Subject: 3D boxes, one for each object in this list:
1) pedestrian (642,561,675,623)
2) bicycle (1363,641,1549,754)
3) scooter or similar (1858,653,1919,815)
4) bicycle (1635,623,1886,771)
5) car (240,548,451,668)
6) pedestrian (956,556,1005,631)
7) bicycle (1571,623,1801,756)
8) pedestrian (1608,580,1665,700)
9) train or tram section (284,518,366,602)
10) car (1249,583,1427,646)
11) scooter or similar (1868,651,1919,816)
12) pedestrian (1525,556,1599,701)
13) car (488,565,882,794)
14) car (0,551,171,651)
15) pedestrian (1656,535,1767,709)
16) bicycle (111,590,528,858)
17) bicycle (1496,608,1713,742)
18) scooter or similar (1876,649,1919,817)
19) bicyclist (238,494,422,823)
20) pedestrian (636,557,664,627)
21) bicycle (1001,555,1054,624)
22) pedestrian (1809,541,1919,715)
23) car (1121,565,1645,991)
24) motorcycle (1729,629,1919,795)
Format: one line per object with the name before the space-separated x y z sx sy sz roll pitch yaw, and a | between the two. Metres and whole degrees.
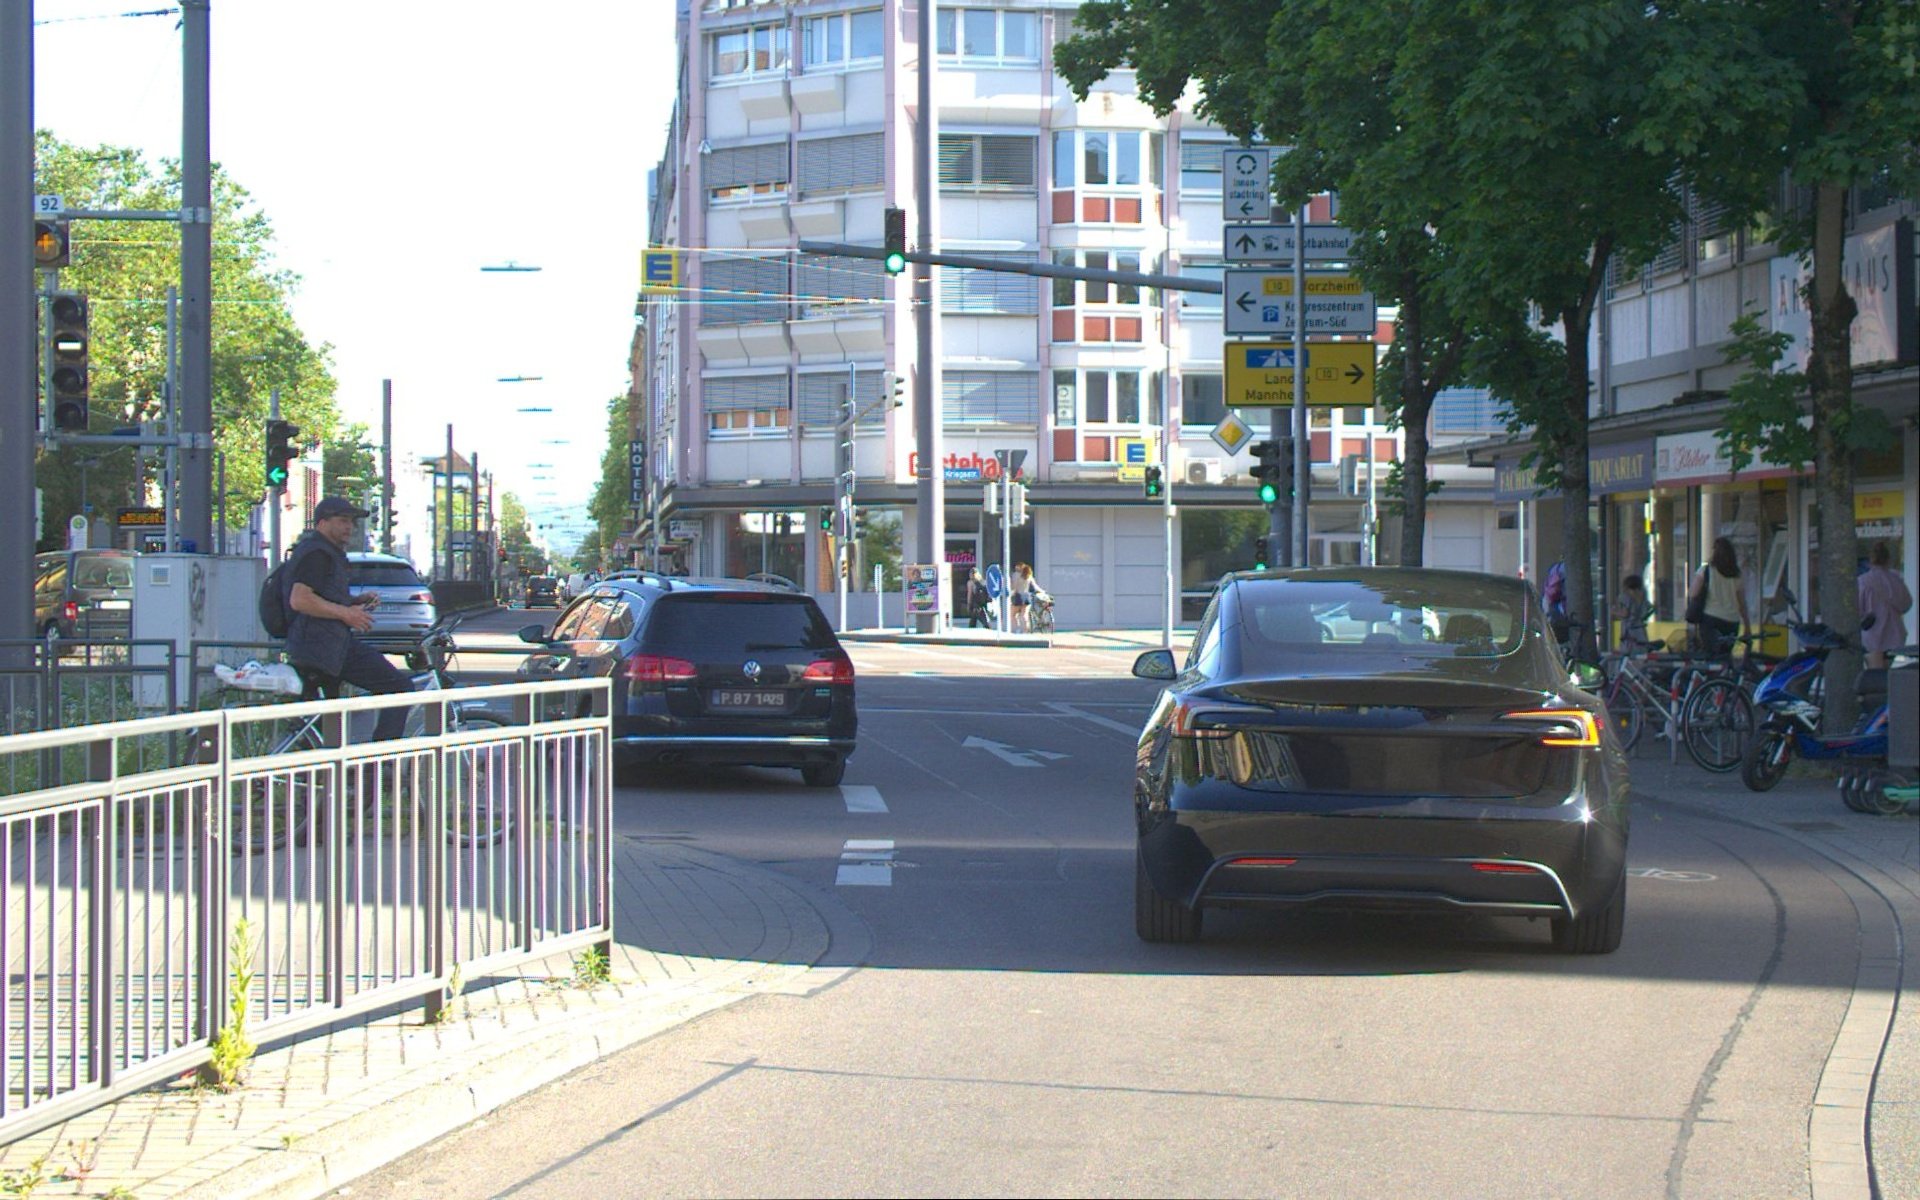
pedestrian | -8.668 -0.235 98.739 0.914 1.748 0.839 1 0 -5
bicycle | 5.324 1.040 36.942 1.889 1.152 0.480 -1 0 -3
scooter or similar | 6.220 0.849 21.895 0.963 1.023 0.160 0 0 -1
bicycle | 6.043 0.724 25.940 1.849 1.052 0.399 -1 0 -15
car | -8.760 0.101 48.833 1.839 1.629 3.486 1 0 -30
pedestrian | 0.430 -0.143 73.953 0.779 1.571 0.868 1 1 -19
bicycle | 5.899 0.723 27.986 1.767 1.053 0.458 1 0 2
pedestrian | 8.065 0.472 40.987 0.645 1.417 0.621 1 0 12
train or tram section | -27.962 -1.708 151.737 2.728 3.530 10.088 1 0 -6
car | 8.913 0.350 81.265 3.839 1.427 1.804 0 -2 -9
scooter or similar | 6.226 0.840 21.694 0.956 1.035 0.160 0 0 -1
pedestrian | 7.218 0.336 41.263 0.843 1.715 0.879 1 0 9
car | -2.068 0.497 24.476 1.764 1.439 4.530 0 1 -18
car | -14.875 0.003 57.154 3.780 1.612 1.574 1 0 43
pedestrian | 7.478 0.215 34.245 0.843 1.701 0.880 1 0 -4
bicycle | -3.020 0.570 16.262 1.820 1.208 0.642 1 0 -28
bicycle | 5.608 0.646 29.944 1.809 1.147 0.435 0 0 -8
scooter or similar | 6.232 0.828 21.496 0.963 1.039 0.160 0 0 -1
bicyclist | -2.986 0.270 16.281 0.681 1.518 0.635 1 0 -28
pedestrian | -8.004 -0.204 88.725 0.626 1.776 0.918 1 0 -9
bicycle | 1.445 -0.238 74.112 0.582 1.458 1.686 0 1 -19
pedestrian | 8.520 0.260 32.226 0.843 1.597 0.880 1 0 -4
car | 1.678 0.594 13.932 1.791 1.446 3.939 1 1 6
motorcycle | 6.291 0.774 23.861 1.786 1.126 0.504 1 0 -6
